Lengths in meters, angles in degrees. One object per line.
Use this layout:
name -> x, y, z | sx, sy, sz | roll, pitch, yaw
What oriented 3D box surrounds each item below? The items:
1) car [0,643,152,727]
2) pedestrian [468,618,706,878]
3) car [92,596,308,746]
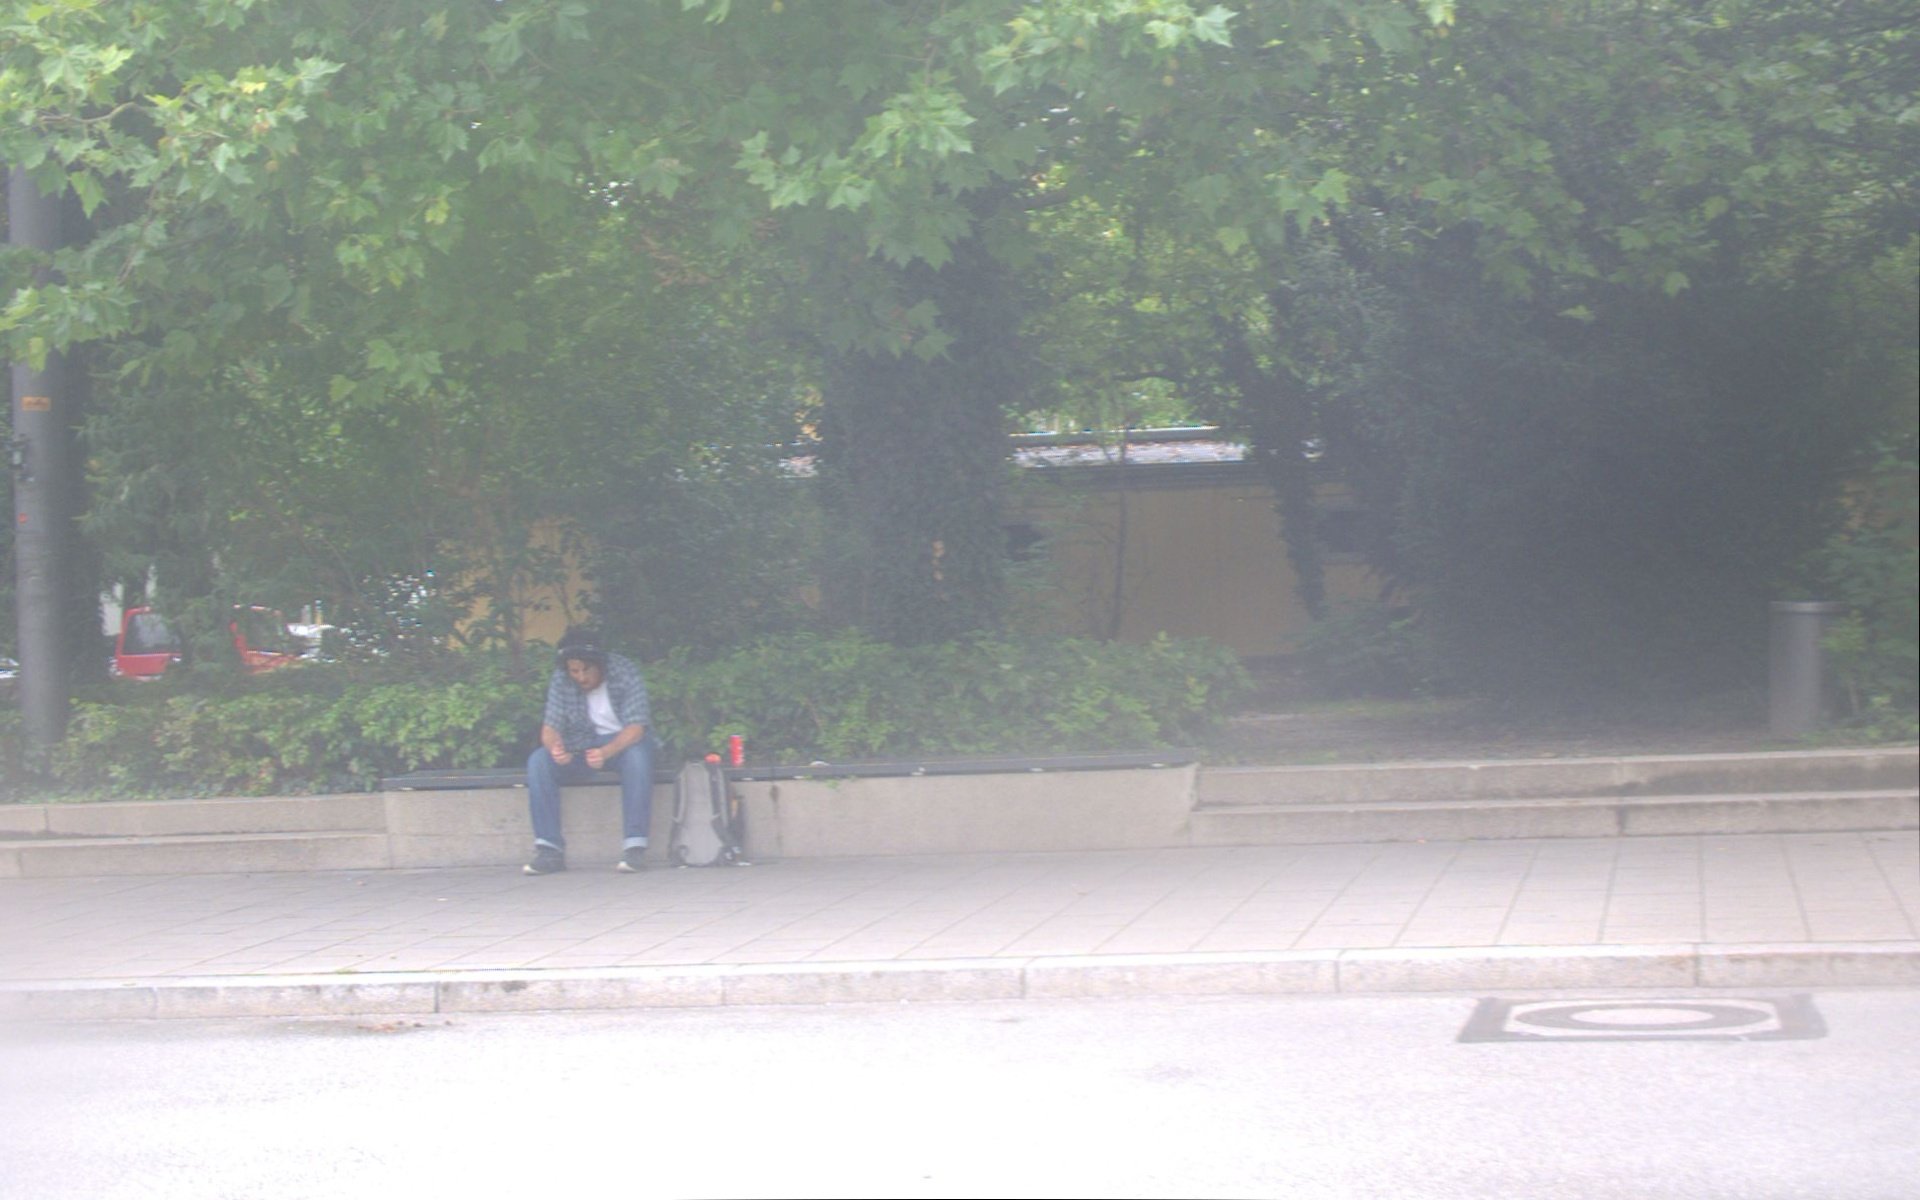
car -> -18.273, 1.734, 71.052 | 1.896, 1.566, 4.074 | -2, 0, 4
pedestrian -> -1.790, 0.704, 16.610 | 0.812, 1.185, 0.918 | -2, 0, 16
car -> -10.572, 0.946, 48.131 | 2.041, 1.916, 4.446 | -2, 0, -1
